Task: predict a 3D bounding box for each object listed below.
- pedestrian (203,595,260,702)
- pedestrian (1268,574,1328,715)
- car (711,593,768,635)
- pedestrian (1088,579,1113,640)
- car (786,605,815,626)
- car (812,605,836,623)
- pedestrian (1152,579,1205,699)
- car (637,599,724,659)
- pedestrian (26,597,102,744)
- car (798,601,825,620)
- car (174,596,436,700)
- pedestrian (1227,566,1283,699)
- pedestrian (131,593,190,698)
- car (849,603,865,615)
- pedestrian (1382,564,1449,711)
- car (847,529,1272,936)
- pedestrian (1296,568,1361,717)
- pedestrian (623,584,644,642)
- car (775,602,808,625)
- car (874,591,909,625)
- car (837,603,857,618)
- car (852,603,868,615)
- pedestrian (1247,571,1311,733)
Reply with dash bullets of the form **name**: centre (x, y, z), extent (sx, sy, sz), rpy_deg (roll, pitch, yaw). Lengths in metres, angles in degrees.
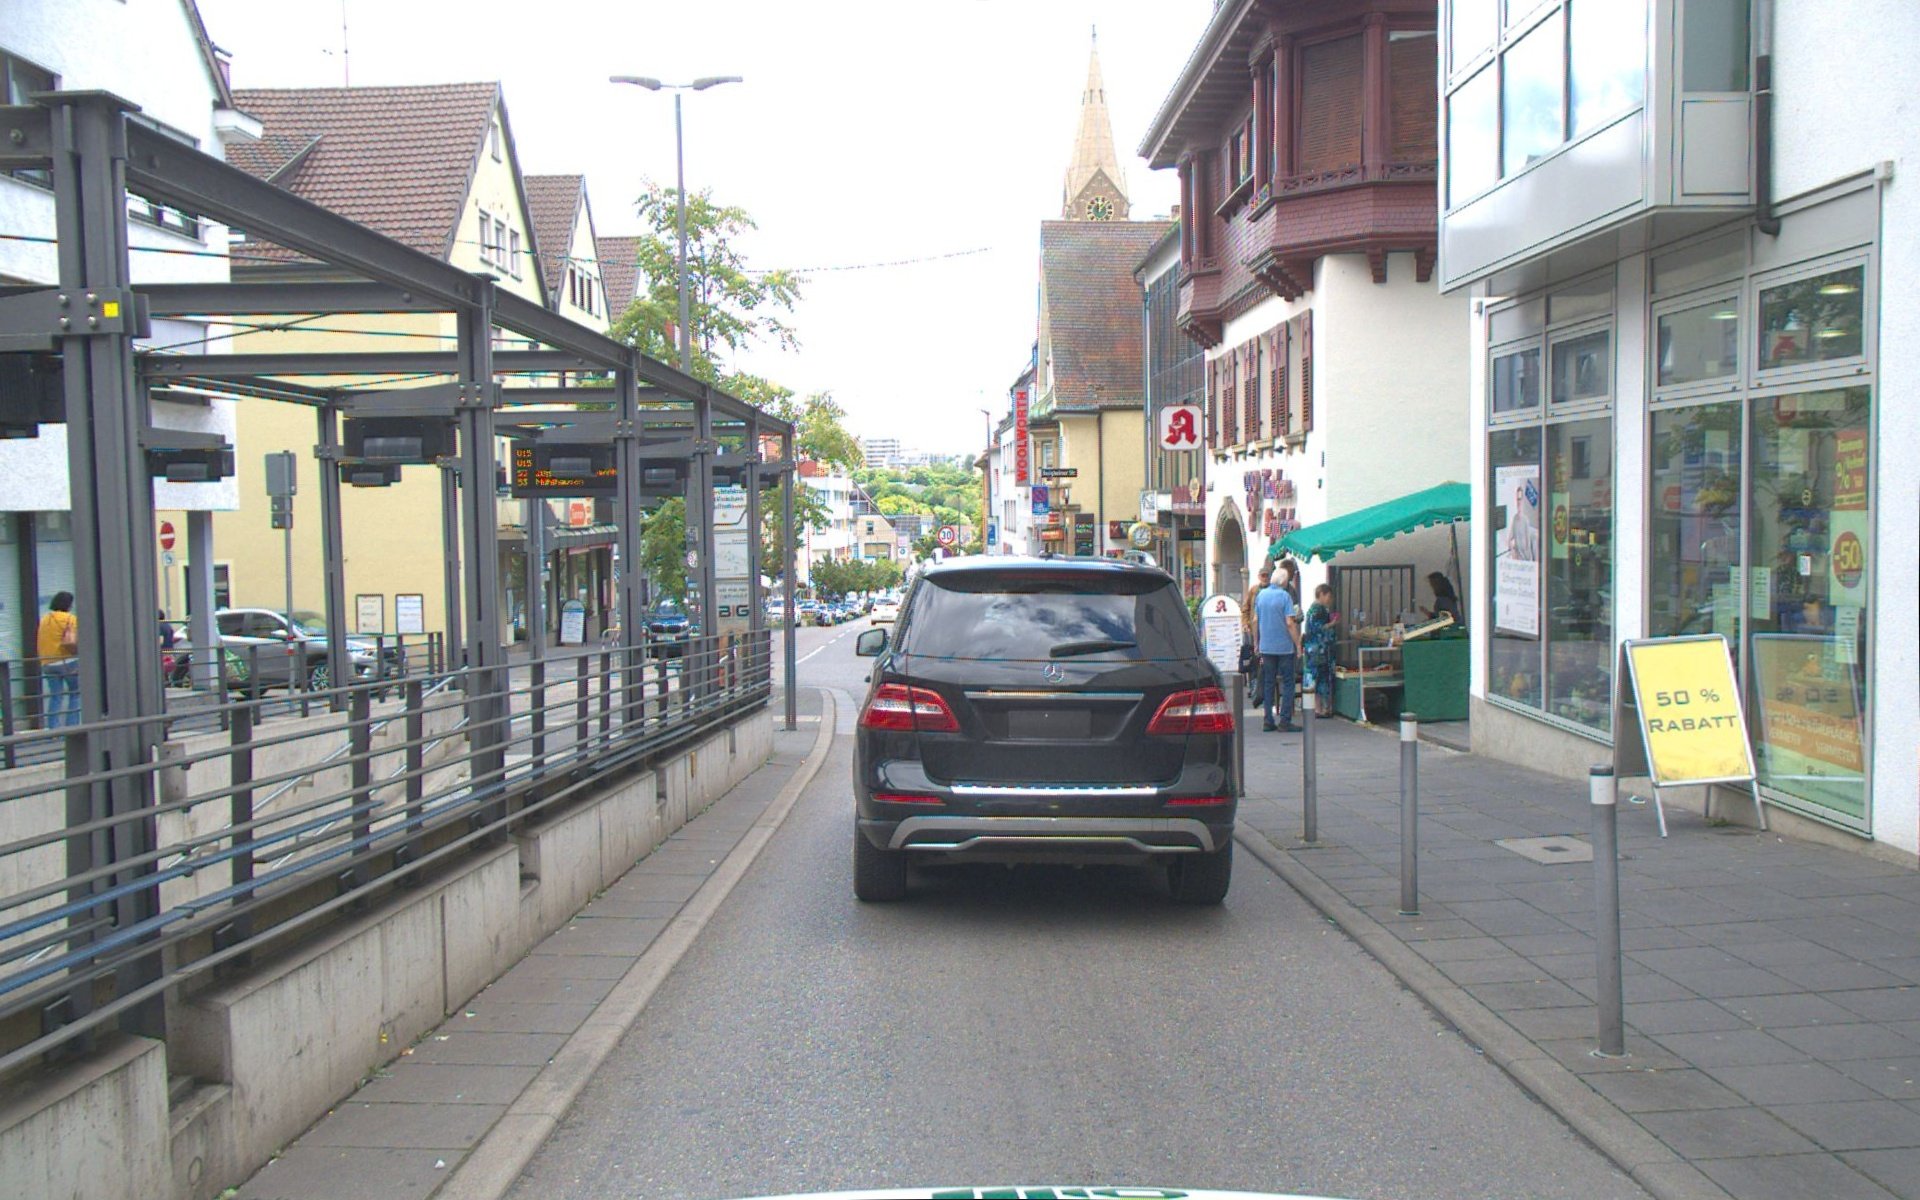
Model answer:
- **pedestrian**: centre (-11.907, 0.785, 27.053), extent (0.613, 1.718, 0.679), rpy_deg (1, 0, -1)
- **pedestrian**: centre (4.189, 0.549, 20.535), extent (0.562, 1.718, 0.565), rpy_deg (1, 0, -7)
- **car**: centre (-8.236, 0.497, 61.981), extent (1.626, 1.516, 3.747), rpy_deg (1, 0, 0)
- **pedestrian**: centre (4.035, 0.264, 47.541), extent (0.594, 1.718, 0.724), rpy_deg (-1, 0, -1)
- **car**: centre (-9.220, 0.886, 95.927), extent (1.360, 1.089, 3.112), rpy_deg (-1, 0, 0)
- **car**: centre (-9.000, 0.934, 109.748), extent (1.360, 1.089, 3.112), rpy_deg (-1, 0, 0)
- **pedestrian**: centre (3.166, 0.555, 23.977), extent (0.609, 1.718, 0.565), rpy_deg (1, 0, -7)
- **car**: centre (-7.507, 0.743, 44.737), extent (1.655, 1.516, 3.979), rpy_deg (1, 0, 0)
- **pedestrian**: centre (-10.659, 0.827, 19.687), extent (0.566, 1.718, 0.576), rpy_deg (1, 0, -1)
- **car**: centre (-9.137, 0.639, 101.751), extent (1.360, 1.089, 3.112), rpy_deg (-1, 0, 0)
- **car**: centre (-11.927, 0.870, 30.207), extent (4.090, 1.761, 1.836), rpy_deg (-1, 0, 12)
- **pedestrian**: centre (4.149, 0.446, 23.298), extent (0.626, 1.841, 0.684), rpy_deg (1, 0, -2)
- **pedestrian**: centre (-13.425, 0.755, 27.787), extent (0.639, 1.718, 0.730), rpy_deg (1, 0, -3)
- **car**: centre (-9.847, 0.895, 158.240), extent (1.360, 1.089, 3.112), rpy_deg (-1, 0, 0)
- **pedestrian**: centre (5.420, 0.435, 19.705), extent (0.562, 1.718, 0.565), rpy_deg (-1, 0, -7)
- **car**: centre (0.368, 0.583, 9.313), extent (1.862, 1.777, 3.998), rpy_deg (1, 0, -2)
- **pedestrian**: centre (4.347, 0.496, 19.550), extent (0.562, 1.718, 0.565), rpy_deg (-1, 0, -7)
- **pedestrian**: centre (-9.823, 0.392, 49.811), extent (0.502, 1.718, 0.541), rpy_deg (1, 0, -1)
- **car**: centre (-8.615, 0.676, 84.562), extent (1.360, 1.089, 3.112), rpy_deg (-1, 0, 0)
- **car**: centre (-3.690, 0.404, 89.362), extent (1.734, 1.743, 3.999), rpy_deg (1, 0, -1)
- **car**: centre (-8.937, 0.841, 130.975), extent (1.360, 1.089, 3.112), rpy_deg (-1, 0, 0)
- **car**: centre (-9.913, 0.860, 163.527), extent (1.360, 1.089, 3.112), rpy_deg (-1, 0, 0)
- **pedestrian**: centre (3.531, 0.569, 18.317), extent (0.531, 1.756, 0.527), rpy_deg (-1, 0, -7)
